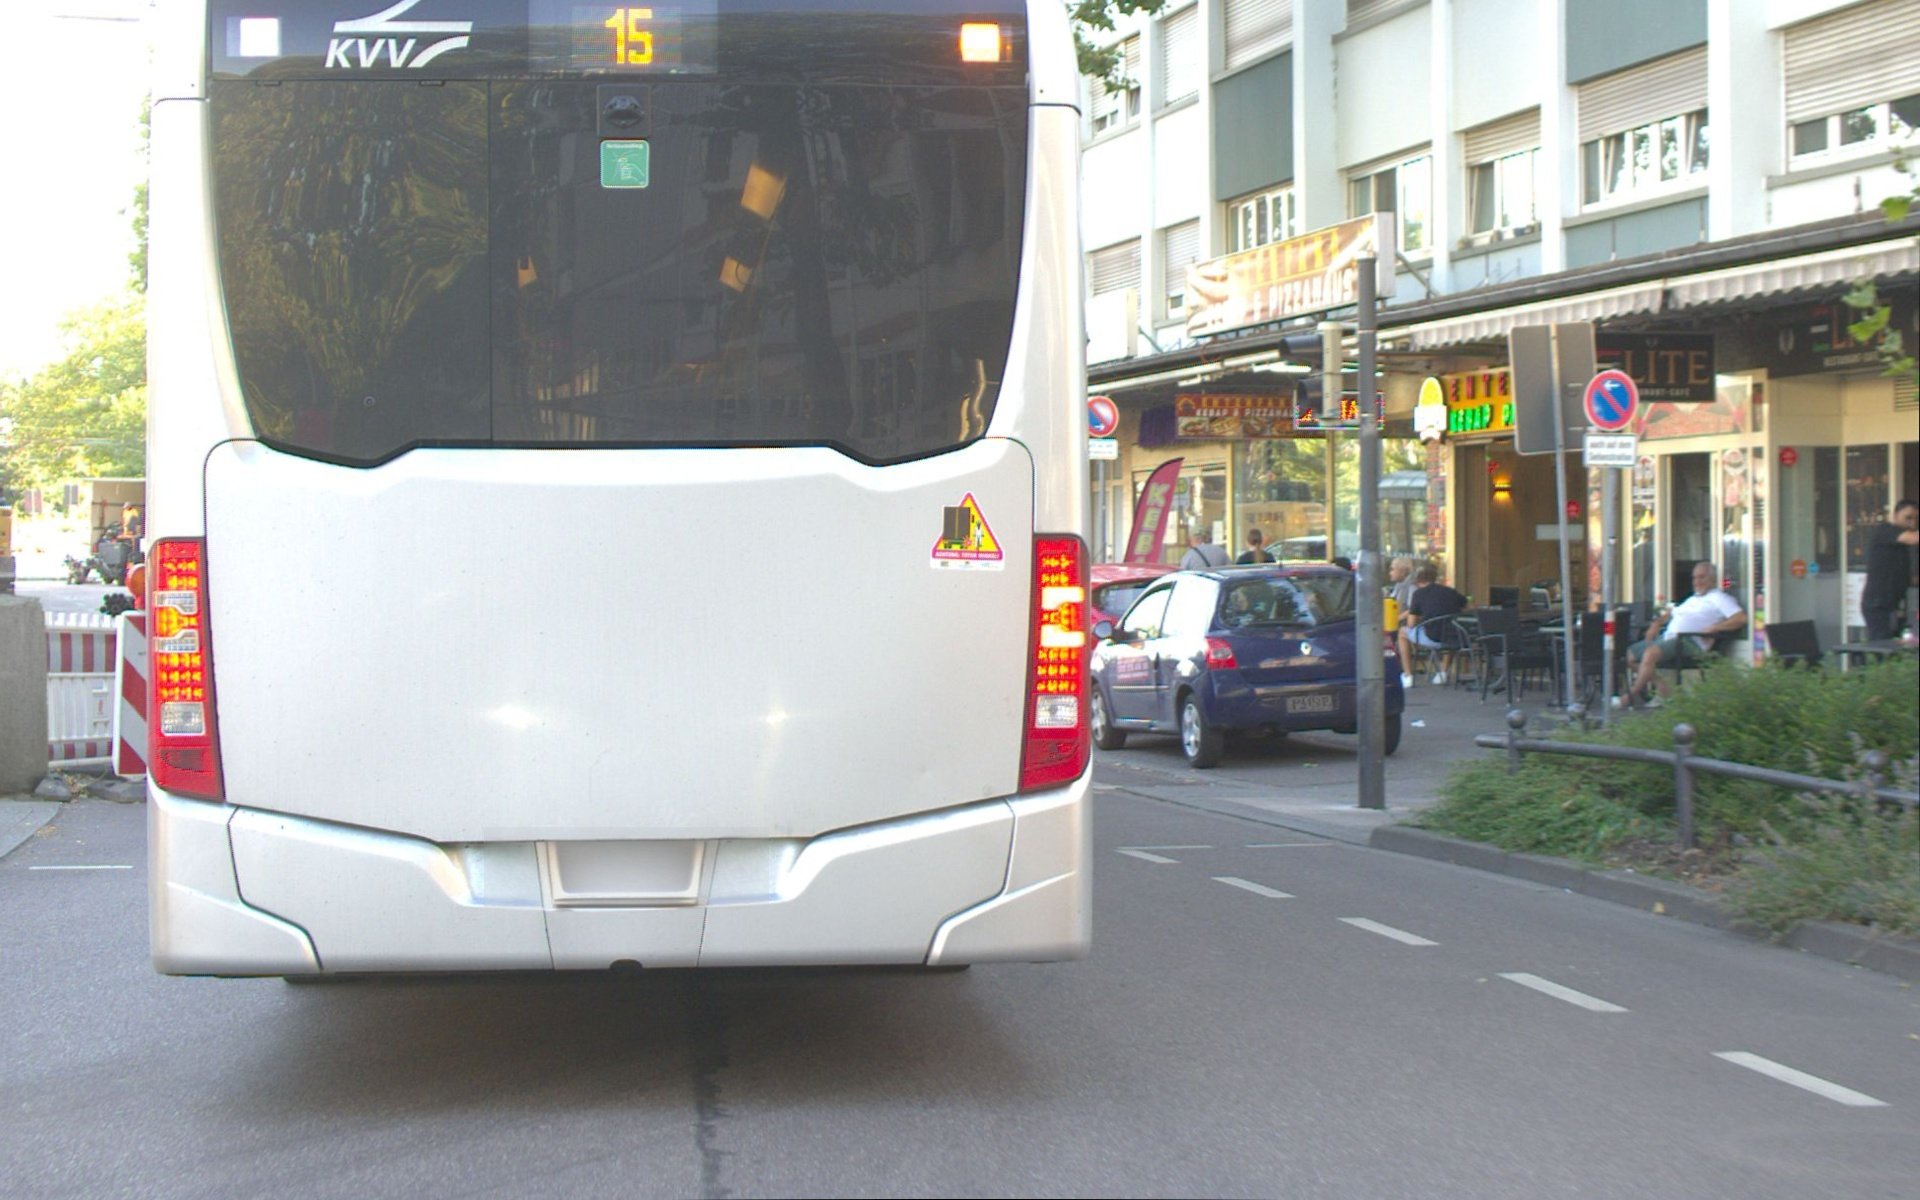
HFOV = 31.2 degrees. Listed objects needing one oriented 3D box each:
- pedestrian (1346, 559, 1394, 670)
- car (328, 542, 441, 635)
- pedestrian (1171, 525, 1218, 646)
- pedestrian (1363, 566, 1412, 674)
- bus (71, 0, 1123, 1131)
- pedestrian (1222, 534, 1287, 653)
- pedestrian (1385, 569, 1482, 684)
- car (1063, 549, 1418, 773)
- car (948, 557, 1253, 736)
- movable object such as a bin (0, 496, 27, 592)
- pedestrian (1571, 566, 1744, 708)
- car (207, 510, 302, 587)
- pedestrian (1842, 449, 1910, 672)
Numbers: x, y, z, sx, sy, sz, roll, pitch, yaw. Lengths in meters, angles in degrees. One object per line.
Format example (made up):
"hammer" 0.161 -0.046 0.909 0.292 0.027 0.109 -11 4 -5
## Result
"pedestrian" 4.353 0.154 36.507 0.391 1.170 0.389 0 1 -15
"car" -9.382 -0.218 56.112 1.755 1.459 4.001 0 1 -9
"pedestrian" 2.442 -0.158 35.872 0.387 1.252 0.393 0 1 -14
"pedestrian" 4.480 0.208 36.038 0.387 1.118 0.393 0 1 -14
"bus" -1.426 -0.269 13.828 2.657 3.088 10.218 0 1 -6
"pedestrian" 3.114 -0.074 36.342 0.592 1.252 0.393 0 1 -12
"pedestrian" 4.660 0.253 33.863 0.705 1.105 0.766 0 1 -13
"car" 2.114 0.416 26.792 1.661 1.511 3.414 -3 2 -14
"car" 1.198 0.367 30.761 1.661 1.390 3.414 -3 2 -16
"movable object such as a bin" -25.976 -1.489 90.880 2.493 2.468 5.357 0 1 -15
"pedestrian" 5.992 0.306 29.573 1.177 1.193 0.926 0 1 -13
"car" -13.977 -1.023 67.966 1.755 1.459 4.001 0 1 -13
"pedestrian" 7.094 -0.308 26.635 0.357 1.712 0.309 2 1 -6
